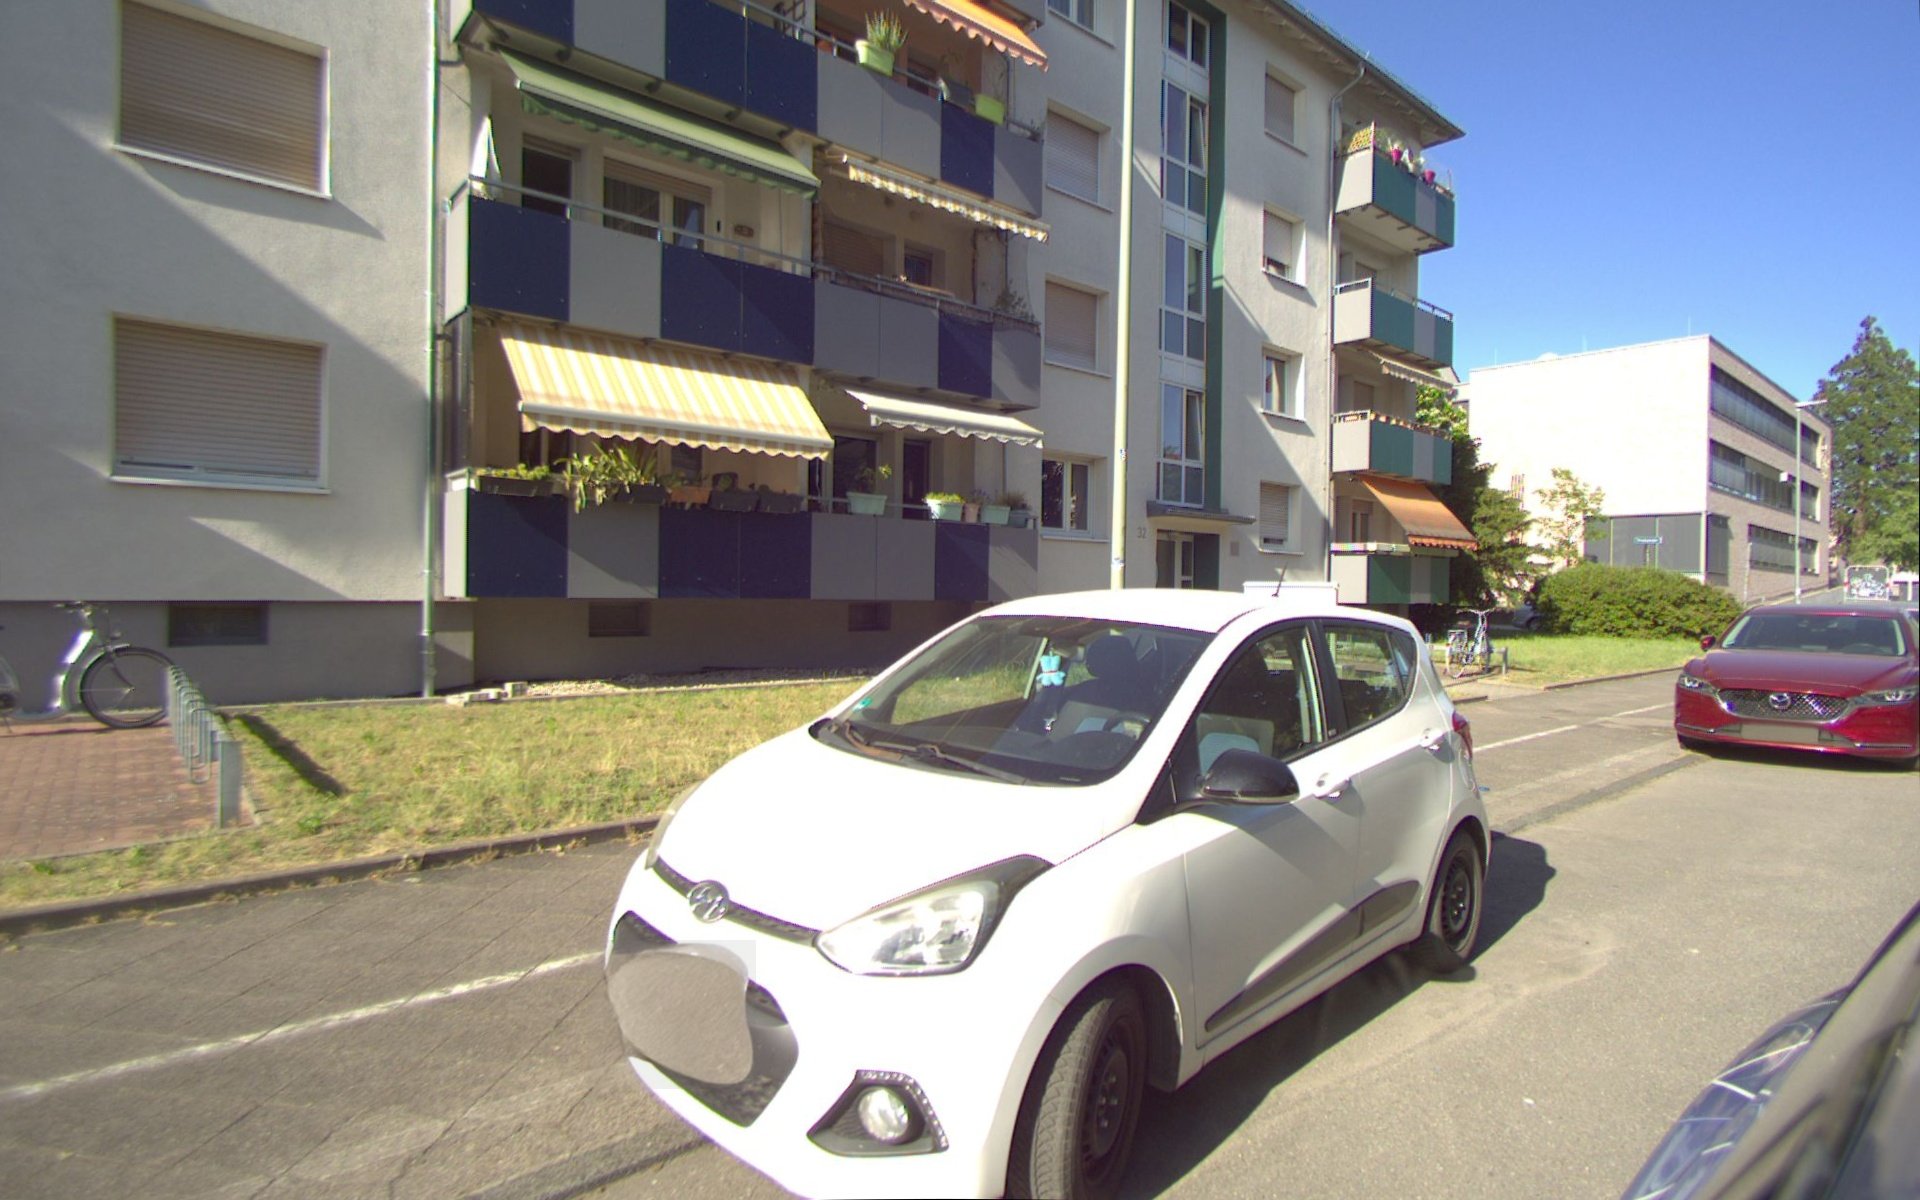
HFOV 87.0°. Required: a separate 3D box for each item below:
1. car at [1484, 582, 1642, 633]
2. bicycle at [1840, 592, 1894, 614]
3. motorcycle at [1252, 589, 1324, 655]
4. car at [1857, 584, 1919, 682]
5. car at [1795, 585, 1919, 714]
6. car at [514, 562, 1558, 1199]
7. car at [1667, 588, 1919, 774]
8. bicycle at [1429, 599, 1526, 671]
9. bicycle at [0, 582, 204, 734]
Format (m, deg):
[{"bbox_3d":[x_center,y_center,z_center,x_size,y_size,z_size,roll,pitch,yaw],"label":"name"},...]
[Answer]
[{"bbox_3d":[20.945,0.206,35.278,1.882,1.644,4.413,0,1,-42],"label":"car"},{"bbox_3d":[49.932,0.159,55.749,0.844,1.077,2.084,0,4,-40],"label":"bicycle"},{"bbox_3d":[6.179,0.387,19.013,0.582,1.166,2.008,1,1,40],"label":"motorcycle"},{"bbox_3d":[17.126,0.522,17.488,4.476,1.549,1.773,0,1,-40],"label":"car"},{"bbox_3d":[13.047,0.585,13.975,4.419,1.553,1.875,0,1,-44],"label":"car"},{"bbox_3d":[0.629,0.654,3.719,3.797,1.517,1.749,-1,2,-44],"label":"car"},{"bbox_3d":[9.103,0.635,10.451,4.977,1.491,1.846,0,1,-42],"label":"car"},{"bbox_3d":[8.454,0.535,16.492,1.862,1.091,0.721,0,1,-39],"label":"bicycle"},{"bbox_3d":[-6.973,0.417,7.657,1.975,1.084,0.524,0,3,-42],"label":"bicycle"}]
